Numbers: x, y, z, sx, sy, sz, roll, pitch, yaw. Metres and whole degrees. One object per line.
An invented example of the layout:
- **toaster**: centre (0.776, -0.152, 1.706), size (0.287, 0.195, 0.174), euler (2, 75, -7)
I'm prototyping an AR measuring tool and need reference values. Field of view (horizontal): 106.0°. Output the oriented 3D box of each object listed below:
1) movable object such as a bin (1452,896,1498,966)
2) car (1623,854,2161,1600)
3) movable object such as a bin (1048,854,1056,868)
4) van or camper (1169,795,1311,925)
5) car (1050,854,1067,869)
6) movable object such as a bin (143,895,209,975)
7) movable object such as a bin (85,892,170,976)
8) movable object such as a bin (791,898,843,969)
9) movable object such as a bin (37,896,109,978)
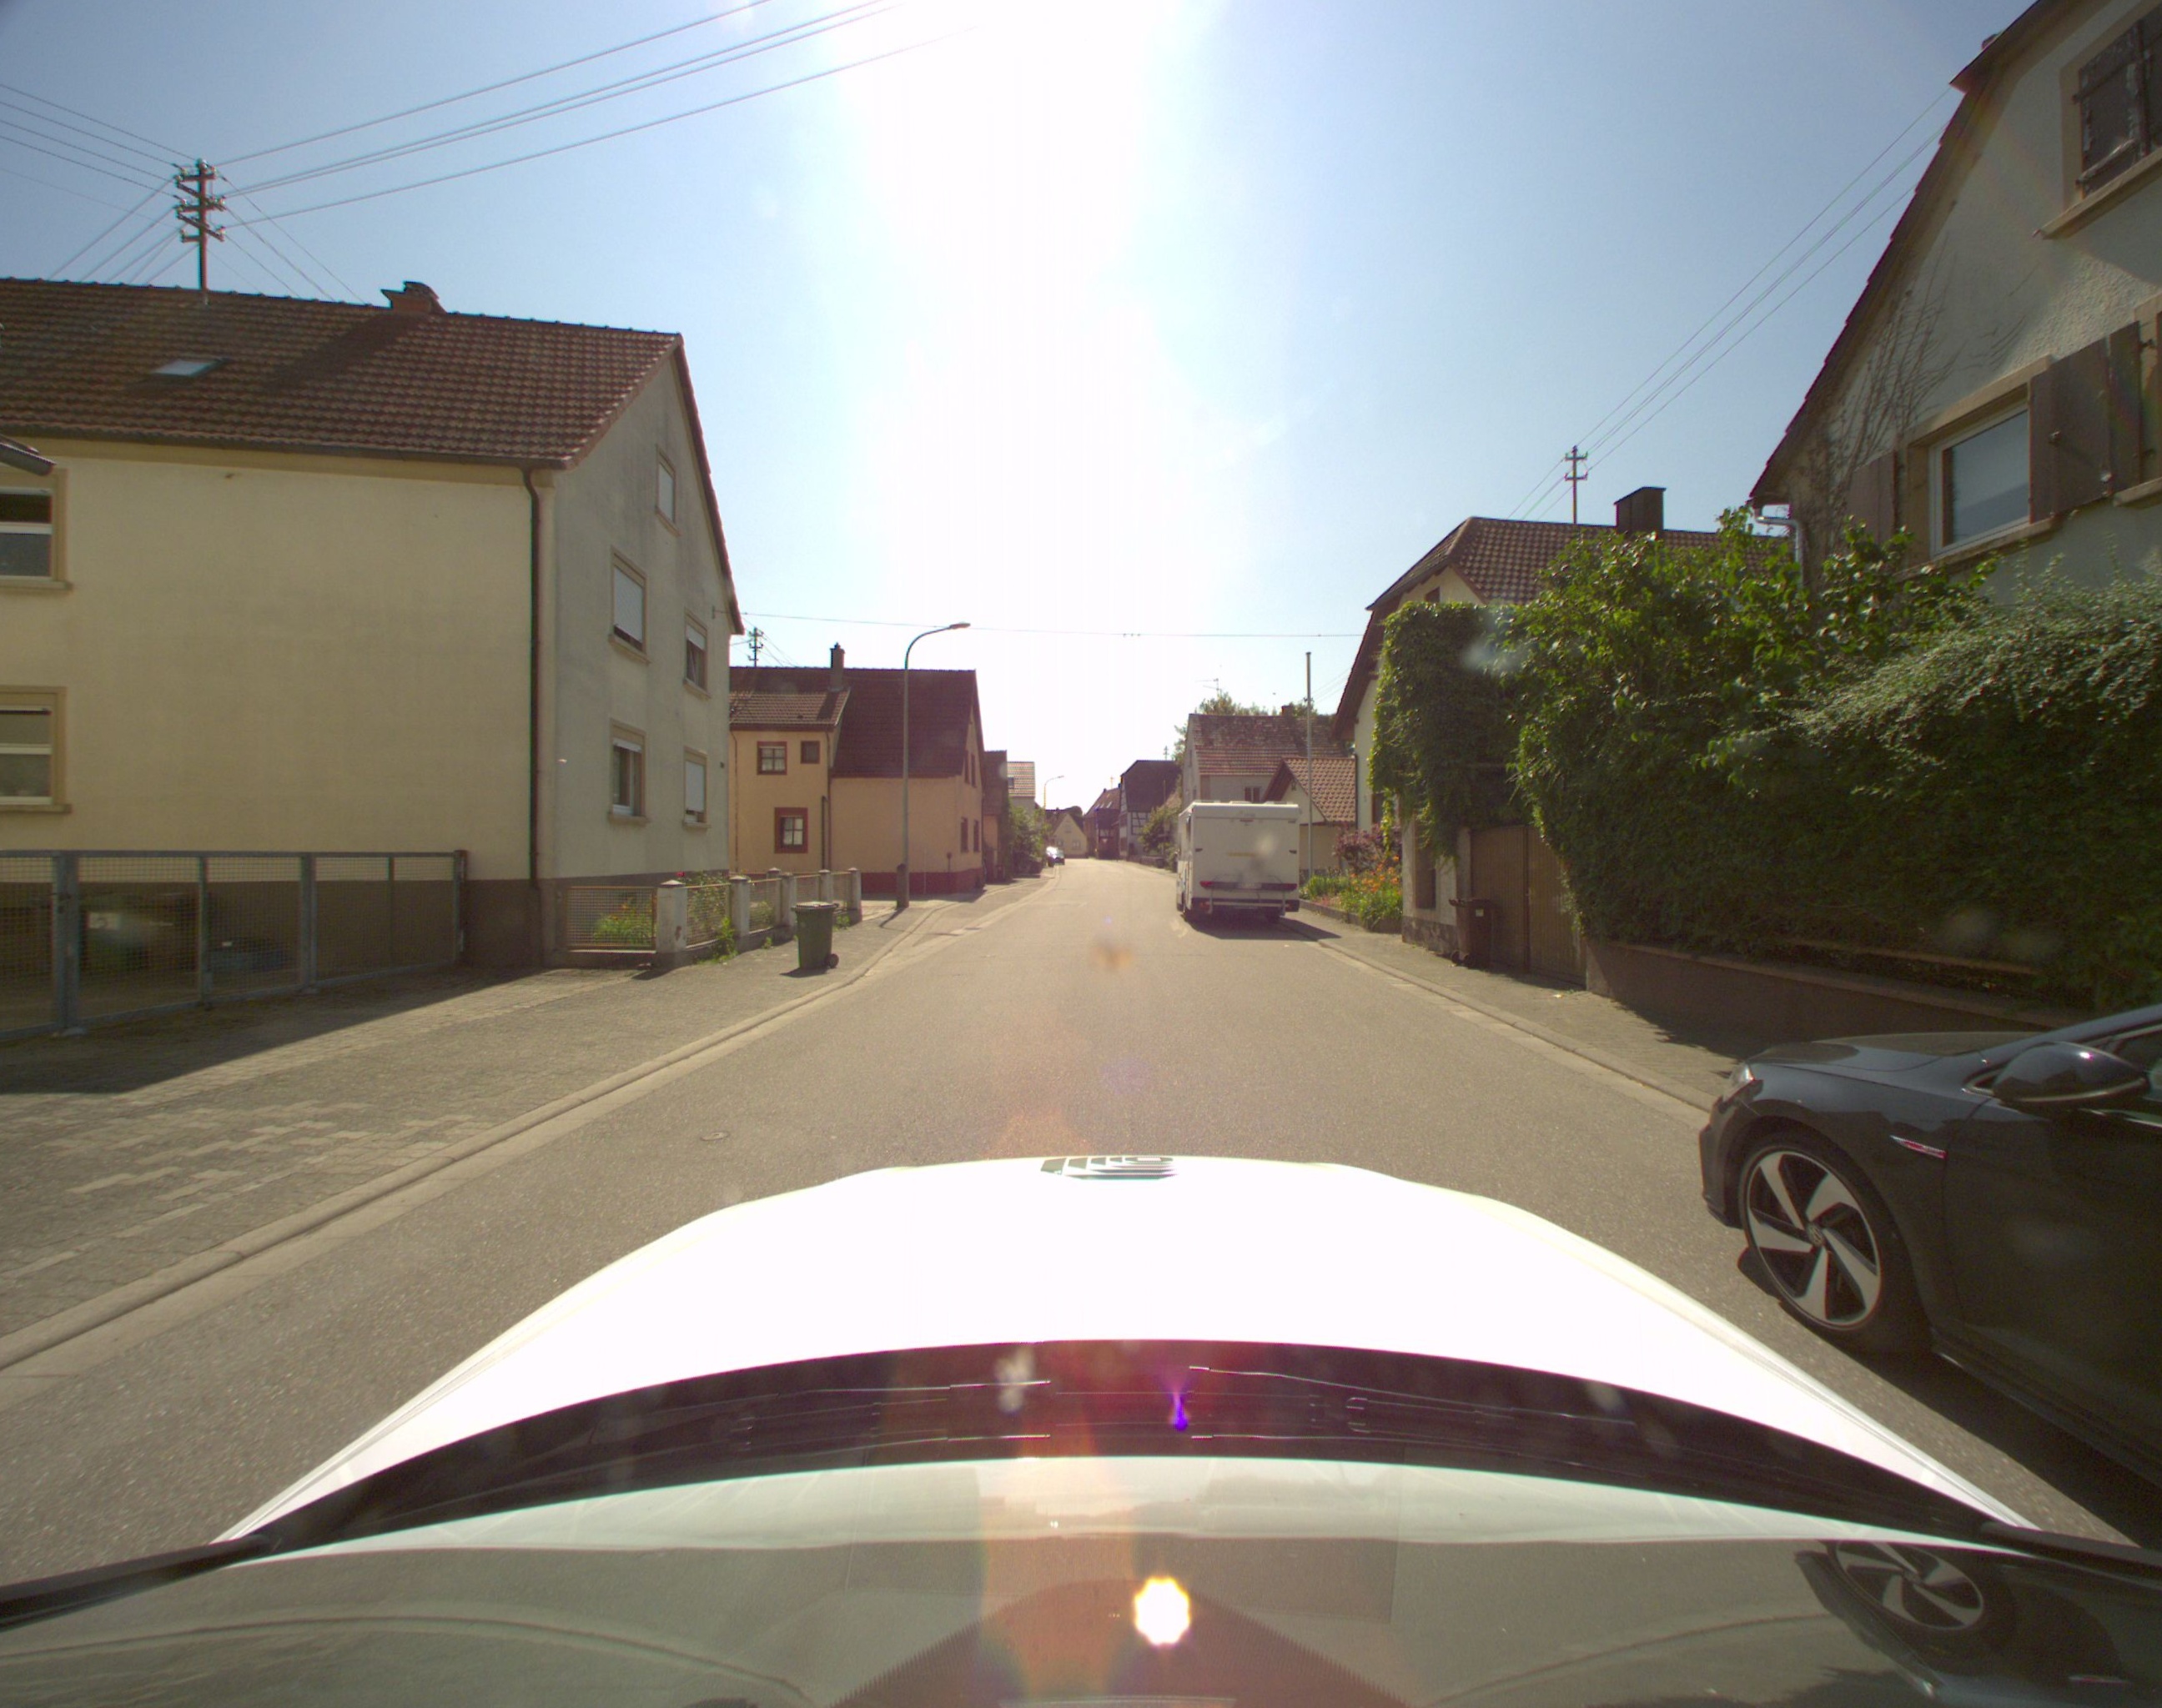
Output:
- **movable object such as a bin**: centre (5.384, 1.043, 11.152), size (0.411, 0.912, 0.438), euler (-1, 0, 1)
- **car**: centre (2.986, 0.746, 1.283), size (1.705, 1.464, 4.068), euler (-1, 0, 3)
- **movable object such as a bin**: centre (-2.495, 0.605, 70.244), size (0.686, 1.185, 0.714), euler (-1, 0, 1)
- **van or camper**: centre (3.548, 0.133, 19.176), size (2.513, 2.697, 4.556), euler (0, 0, 1)
- **car**: centre (-2.271, 0.740, 82.703), size (1.506, 1.436, 3.513), euler (-1, 0, 2)
- **movable object such as a bin**: centre (-10.827, 0.958, 9.754), size (0.349, 0.916, 0.373), euler (1, 0, -3)
- **movable object such as a bin**: centre (-11.299, 0.936, 9.660), size (0.468, 0.952, 0.436), euler (1, 0, -6)
- **movable object such as a bin**: centre (-3.776, 1.127, 11.675), size (0.537, 0.949, 0.553), euler (1, 0, 1)
- **movable object such as a bin**: centre (-11.837, 0.963, 9.572), size (0.349, 0.920, 0.373), euler (1, 0, -3)
